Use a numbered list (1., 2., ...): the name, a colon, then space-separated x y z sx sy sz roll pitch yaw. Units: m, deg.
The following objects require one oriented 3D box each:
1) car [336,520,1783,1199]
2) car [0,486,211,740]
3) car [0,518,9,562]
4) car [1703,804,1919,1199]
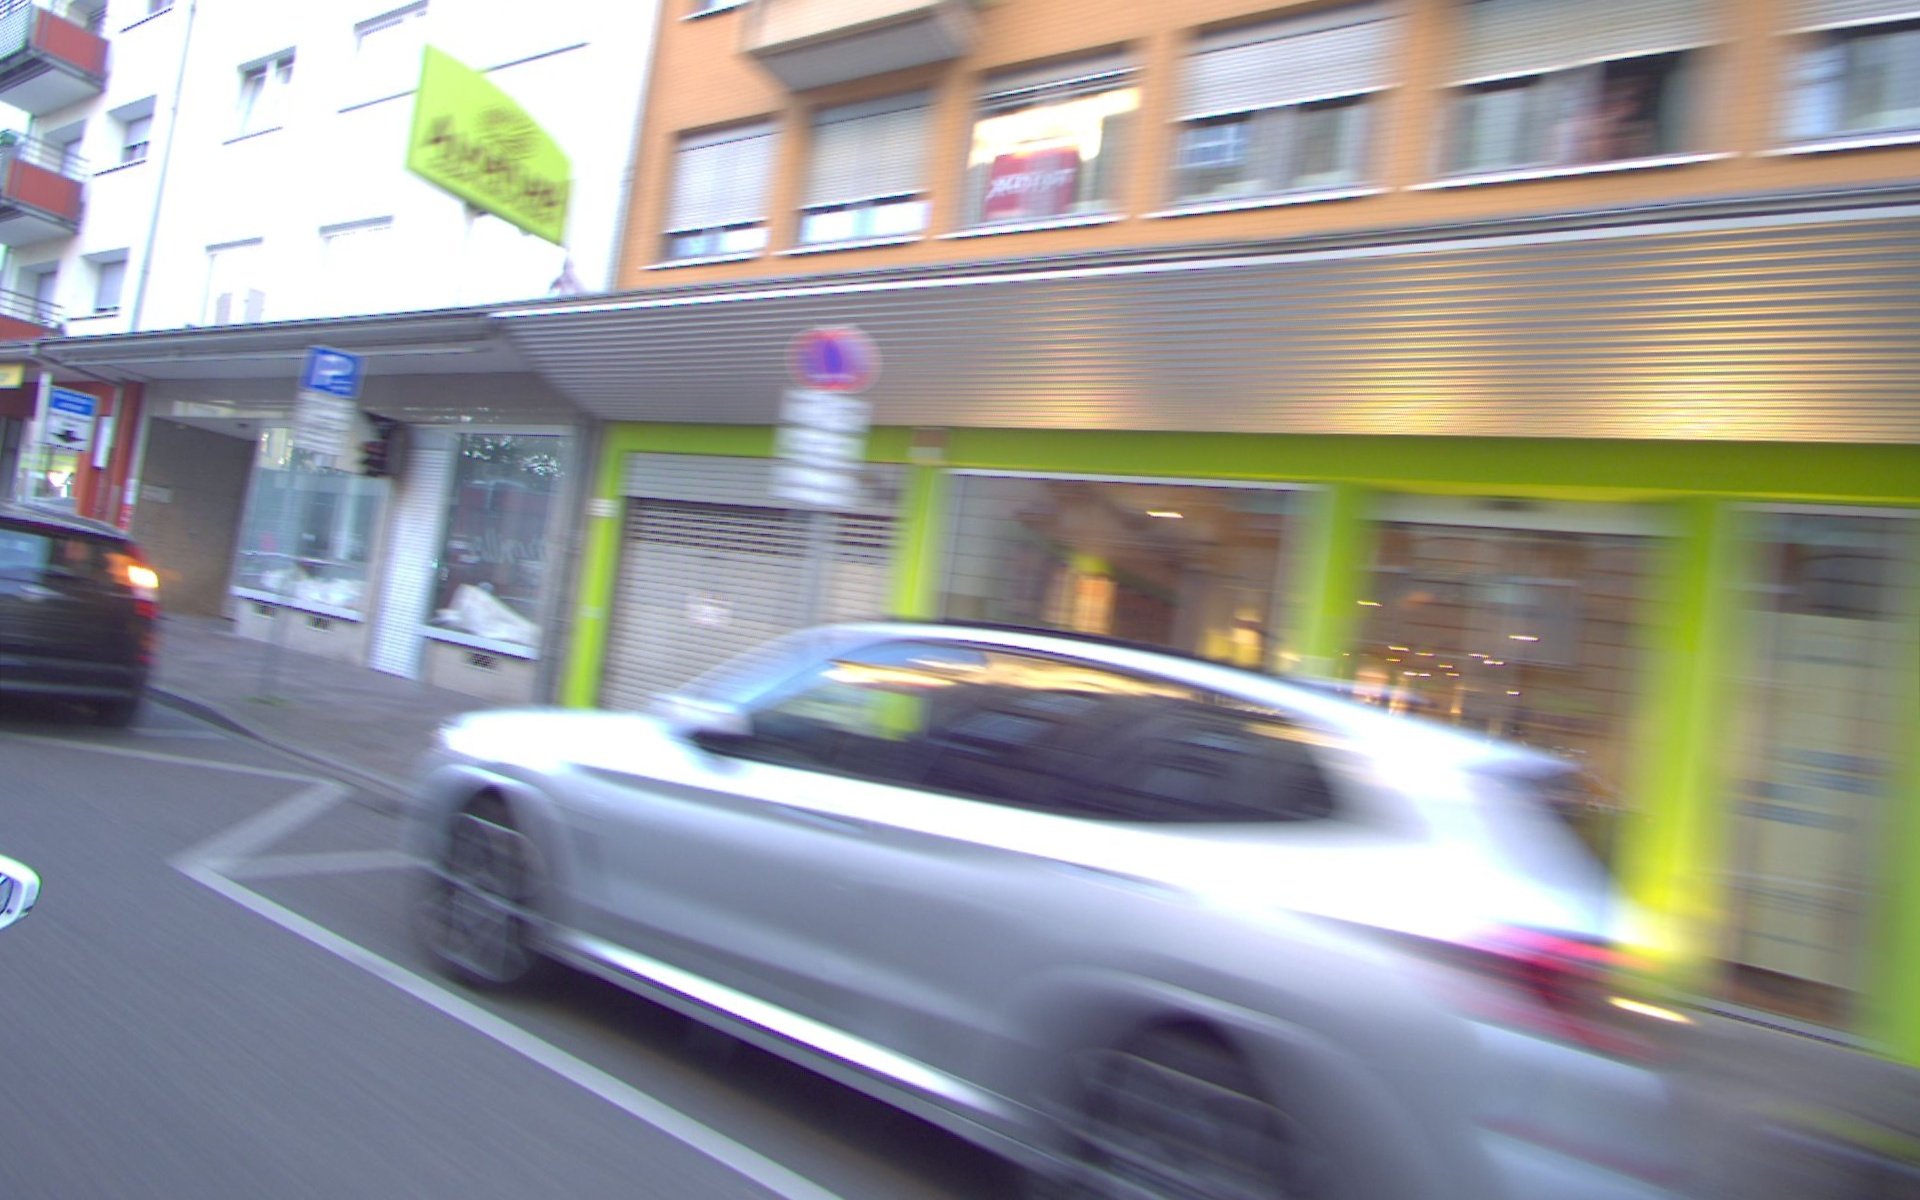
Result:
1. car: -0.114 0.878 3.841 4.677 1.685 1.758 7 -5 32
2. car: -8.079 -0.117 8.135 4.416 1.626 1.799 7 -5 36
3. car: -12.531 -0.548 10.960 4.602 1.429 1.744 8 -5 30
4. car: 3.996 1.484 1.269 4.677 1.429 1.698 7 -5 32
